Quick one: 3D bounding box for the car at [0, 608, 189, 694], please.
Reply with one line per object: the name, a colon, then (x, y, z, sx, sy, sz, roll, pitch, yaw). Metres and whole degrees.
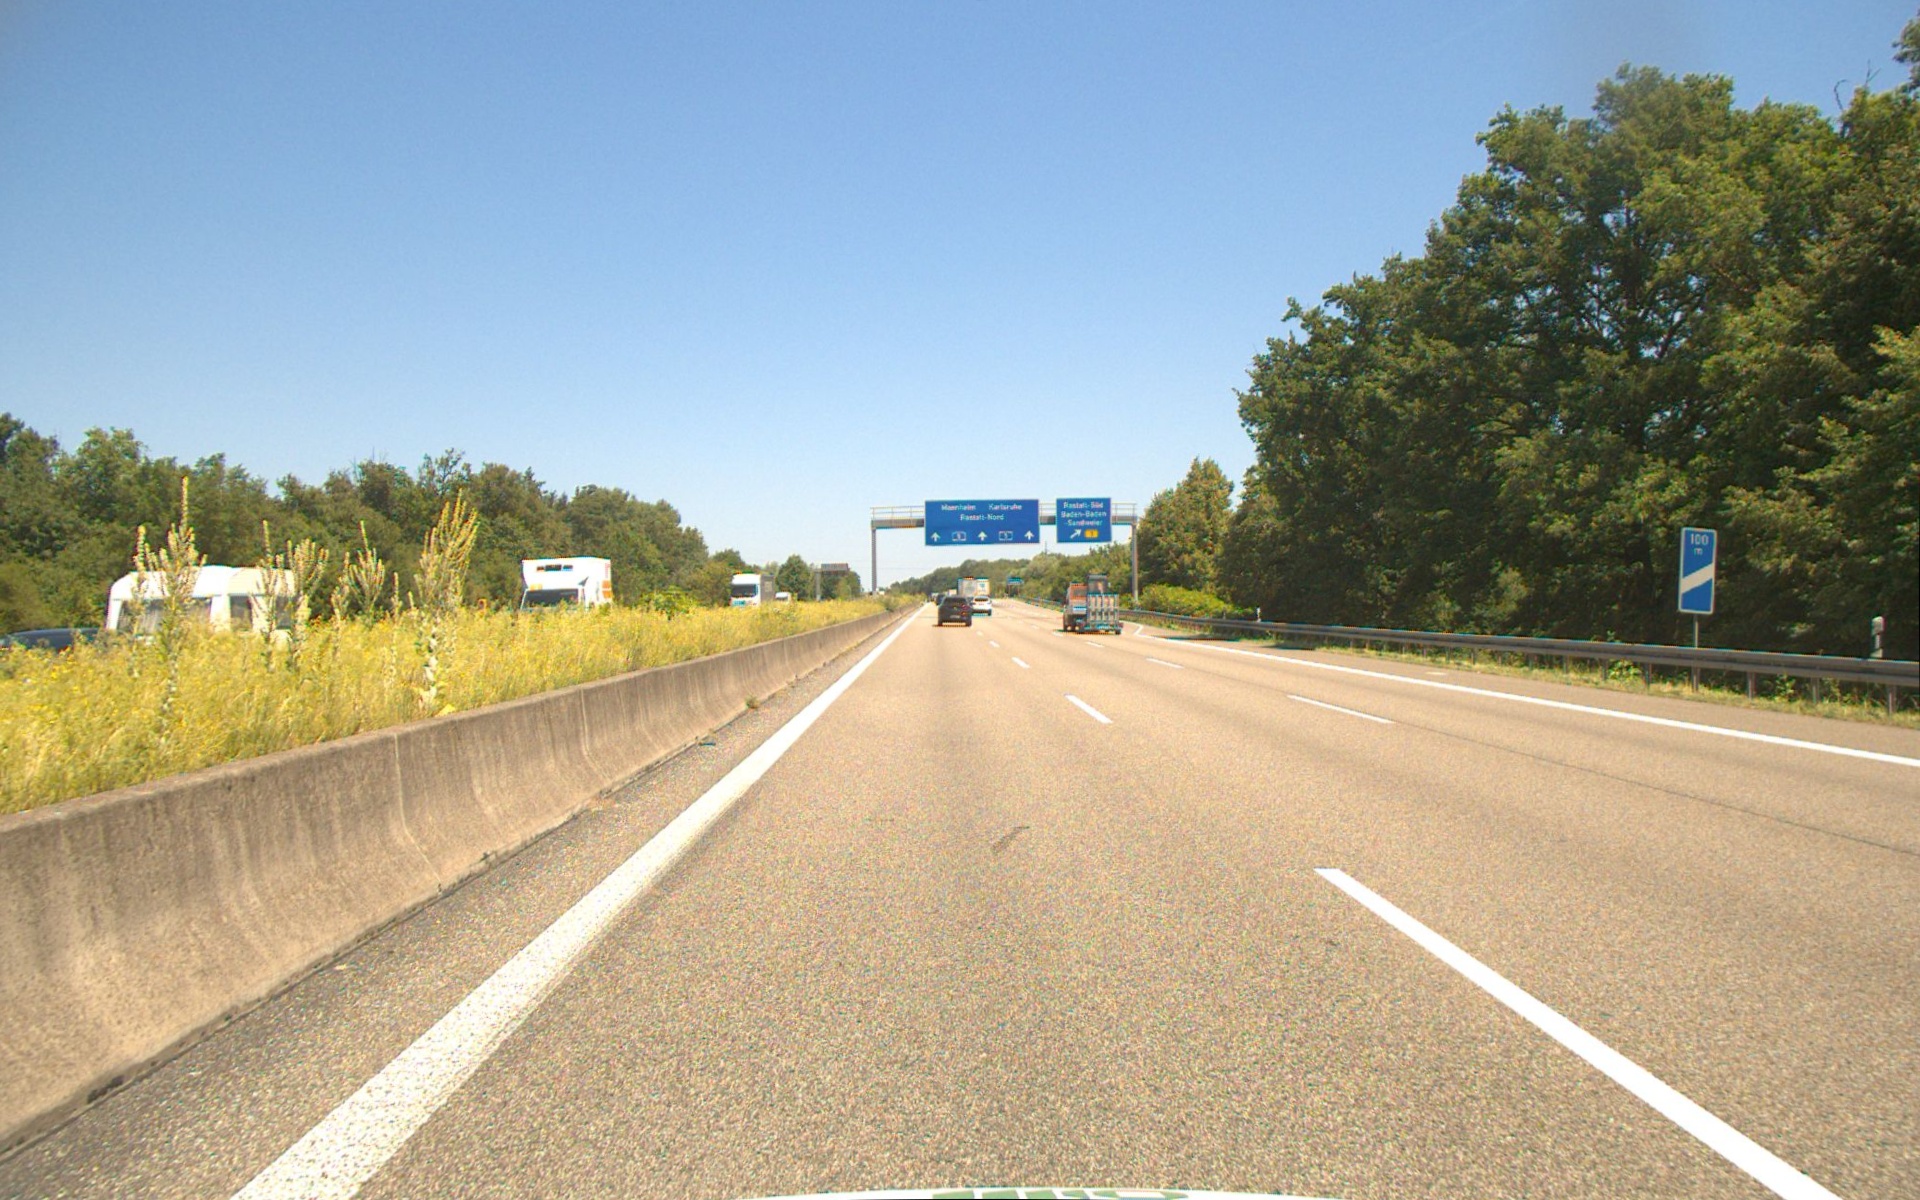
car: (-14.072, 0.773, 26.491, 1.670, 1.265, 3.998, 1, 0, -2)

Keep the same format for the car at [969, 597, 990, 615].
car: (1.715, 0.511, 145.198, 1.705, 1.512, 3.999, 0, 0, -1)

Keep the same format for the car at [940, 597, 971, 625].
car: (-0.299, 0.632, 96.053, 1.627, 1.576, 3.781, -1, 0, -2)

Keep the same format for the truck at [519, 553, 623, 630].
truck: (-12.674, -0.250, 54.267, 2.264, 2.367, 6.076, 0, 0, -3)

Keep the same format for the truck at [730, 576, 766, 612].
truck: (-19.390, -0.539, 151.209, 2.589, 3.138, 5.847, 1, 0, -1)

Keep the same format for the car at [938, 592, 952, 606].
car: (-2.323, -0.167, 251.604, 1.953, 2.049, 3.998, -2, 0, -2)

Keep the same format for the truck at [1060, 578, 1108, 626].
truck: (6.387, 0.116, 85.744, 1.953, 2.415, 4.642, 0, 0, -2)

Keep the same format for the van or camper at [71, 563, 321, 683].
van or camper: (-14.281, 0.422, 31.410, 2.177, 2.049, 5.884, 1, 0, -2)

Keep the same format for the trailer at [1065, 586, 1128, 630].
trailer: (6.577, 0.352, 80.393, 2.372, 2.049, 6.031, 0, 0, -2)
